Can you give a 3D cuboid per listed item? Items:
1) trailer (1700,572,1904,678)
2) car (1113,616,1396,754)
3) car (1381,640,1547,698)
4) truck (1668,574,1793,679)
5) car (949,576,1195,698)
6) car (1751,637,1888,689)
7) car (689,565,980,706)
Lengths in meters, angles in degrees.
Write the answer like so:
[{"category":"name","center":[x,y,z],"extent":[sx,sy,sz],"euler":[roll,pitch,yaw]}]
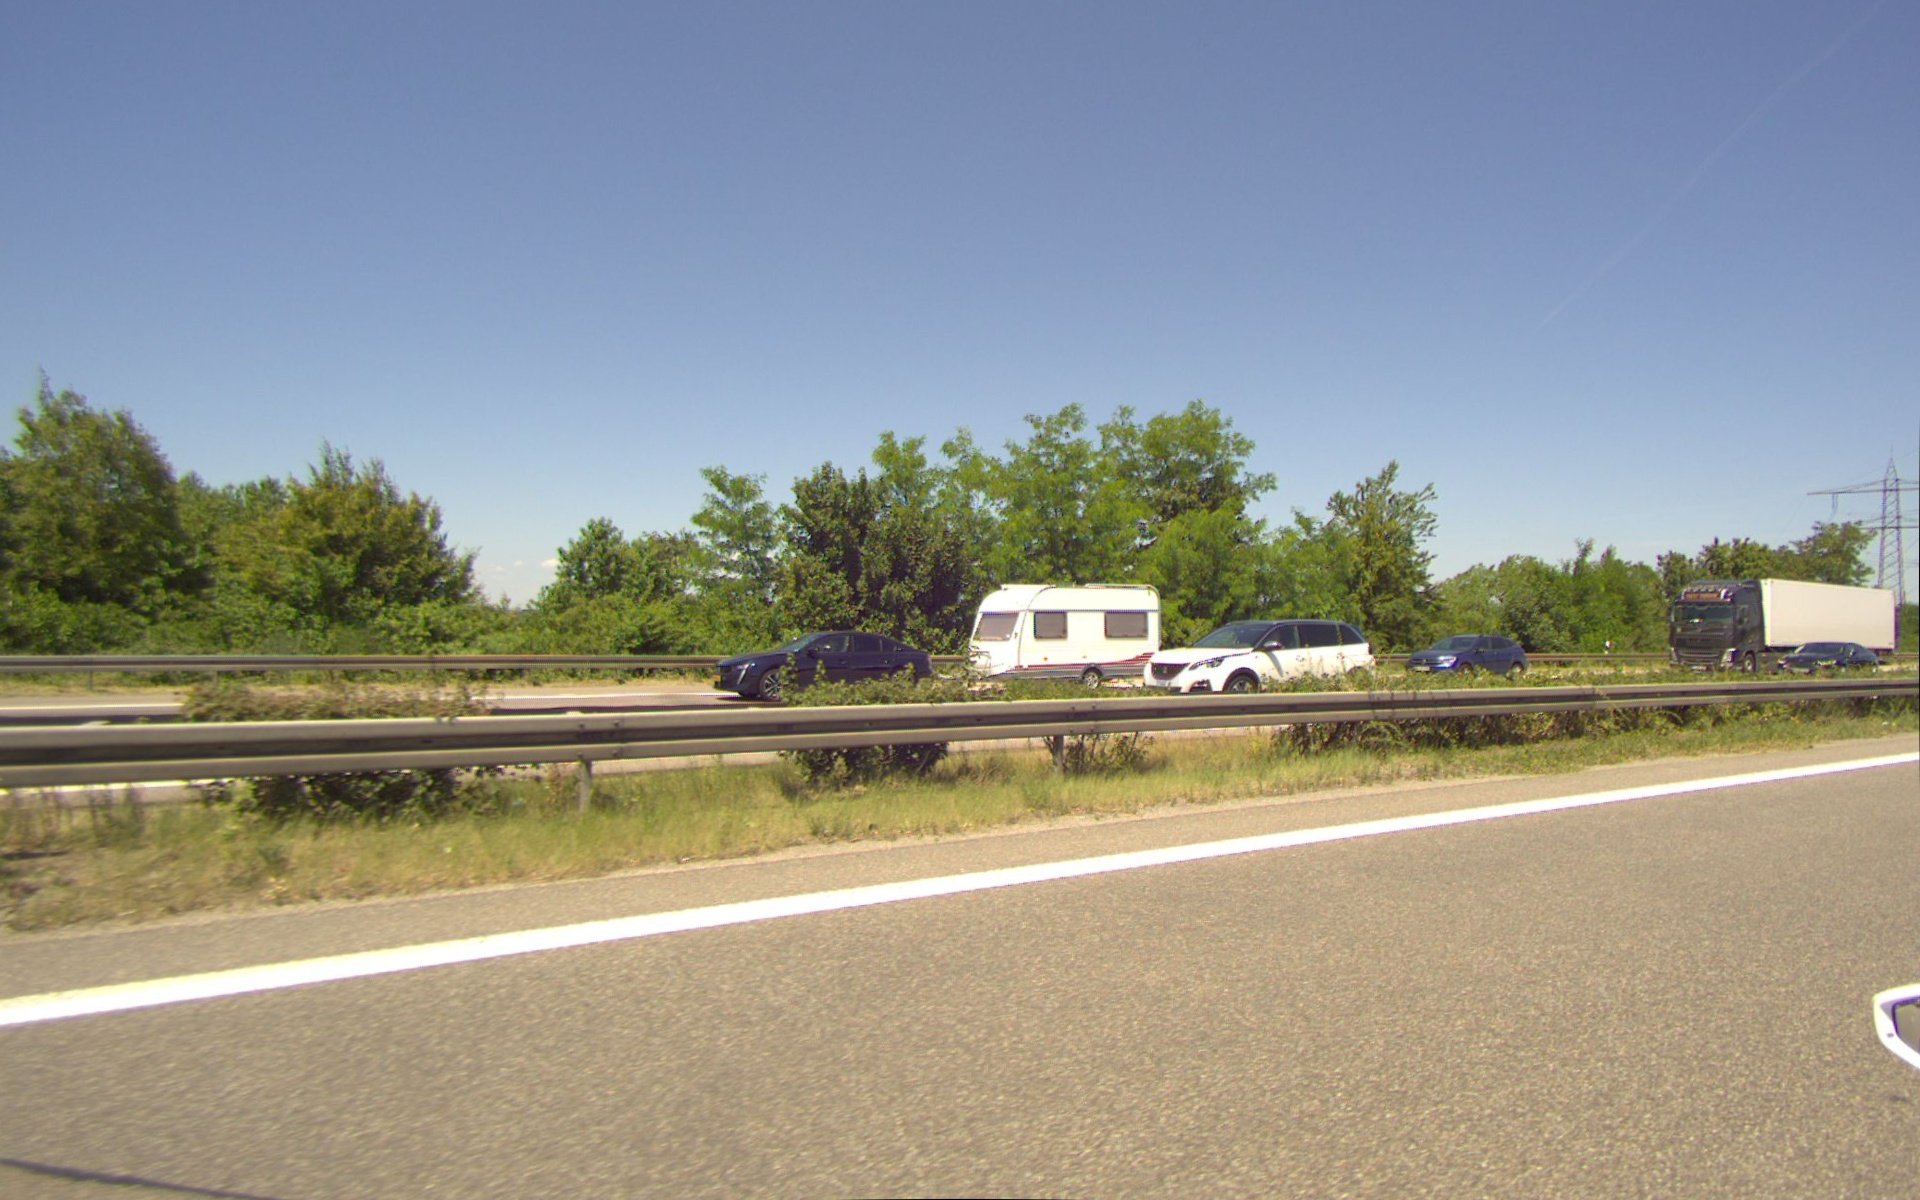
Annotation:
[{"category":"trailer","center":[38.597,1.160,45.748],"extent":[14.263,4.347,2.411],"euler":[1,1,-31]},{"category":"car","center":[5.196,1.381,17.673],"extent":[4.504,2.040,2.286],"euler":[1,1,-30]},{"category":"car","center":[15.623,2.086,31.137],"extent":[4.695,1.658,2.471],"euler":[1,-2,-30]},{"category":"truck","center":[32.210,1.079,41.974],"extent":[4.863,4.166,2.411],"euler":[1,1,-31]},{"category":"car","center":[2.772,0.888,24.394],"extent":[5.650,2.649,2.407],"euler":[1,-2,-30]},{"category":"car","center":[31.718,2.279,37.056],"extent":[4.763,1.662,2.375],"euler":[1,1,-30]},{"category":"car","center":[-2.607,0.745,21.356],"extent":[5.650,2.649,2.407],"euler":[1,-2,-30]}]
